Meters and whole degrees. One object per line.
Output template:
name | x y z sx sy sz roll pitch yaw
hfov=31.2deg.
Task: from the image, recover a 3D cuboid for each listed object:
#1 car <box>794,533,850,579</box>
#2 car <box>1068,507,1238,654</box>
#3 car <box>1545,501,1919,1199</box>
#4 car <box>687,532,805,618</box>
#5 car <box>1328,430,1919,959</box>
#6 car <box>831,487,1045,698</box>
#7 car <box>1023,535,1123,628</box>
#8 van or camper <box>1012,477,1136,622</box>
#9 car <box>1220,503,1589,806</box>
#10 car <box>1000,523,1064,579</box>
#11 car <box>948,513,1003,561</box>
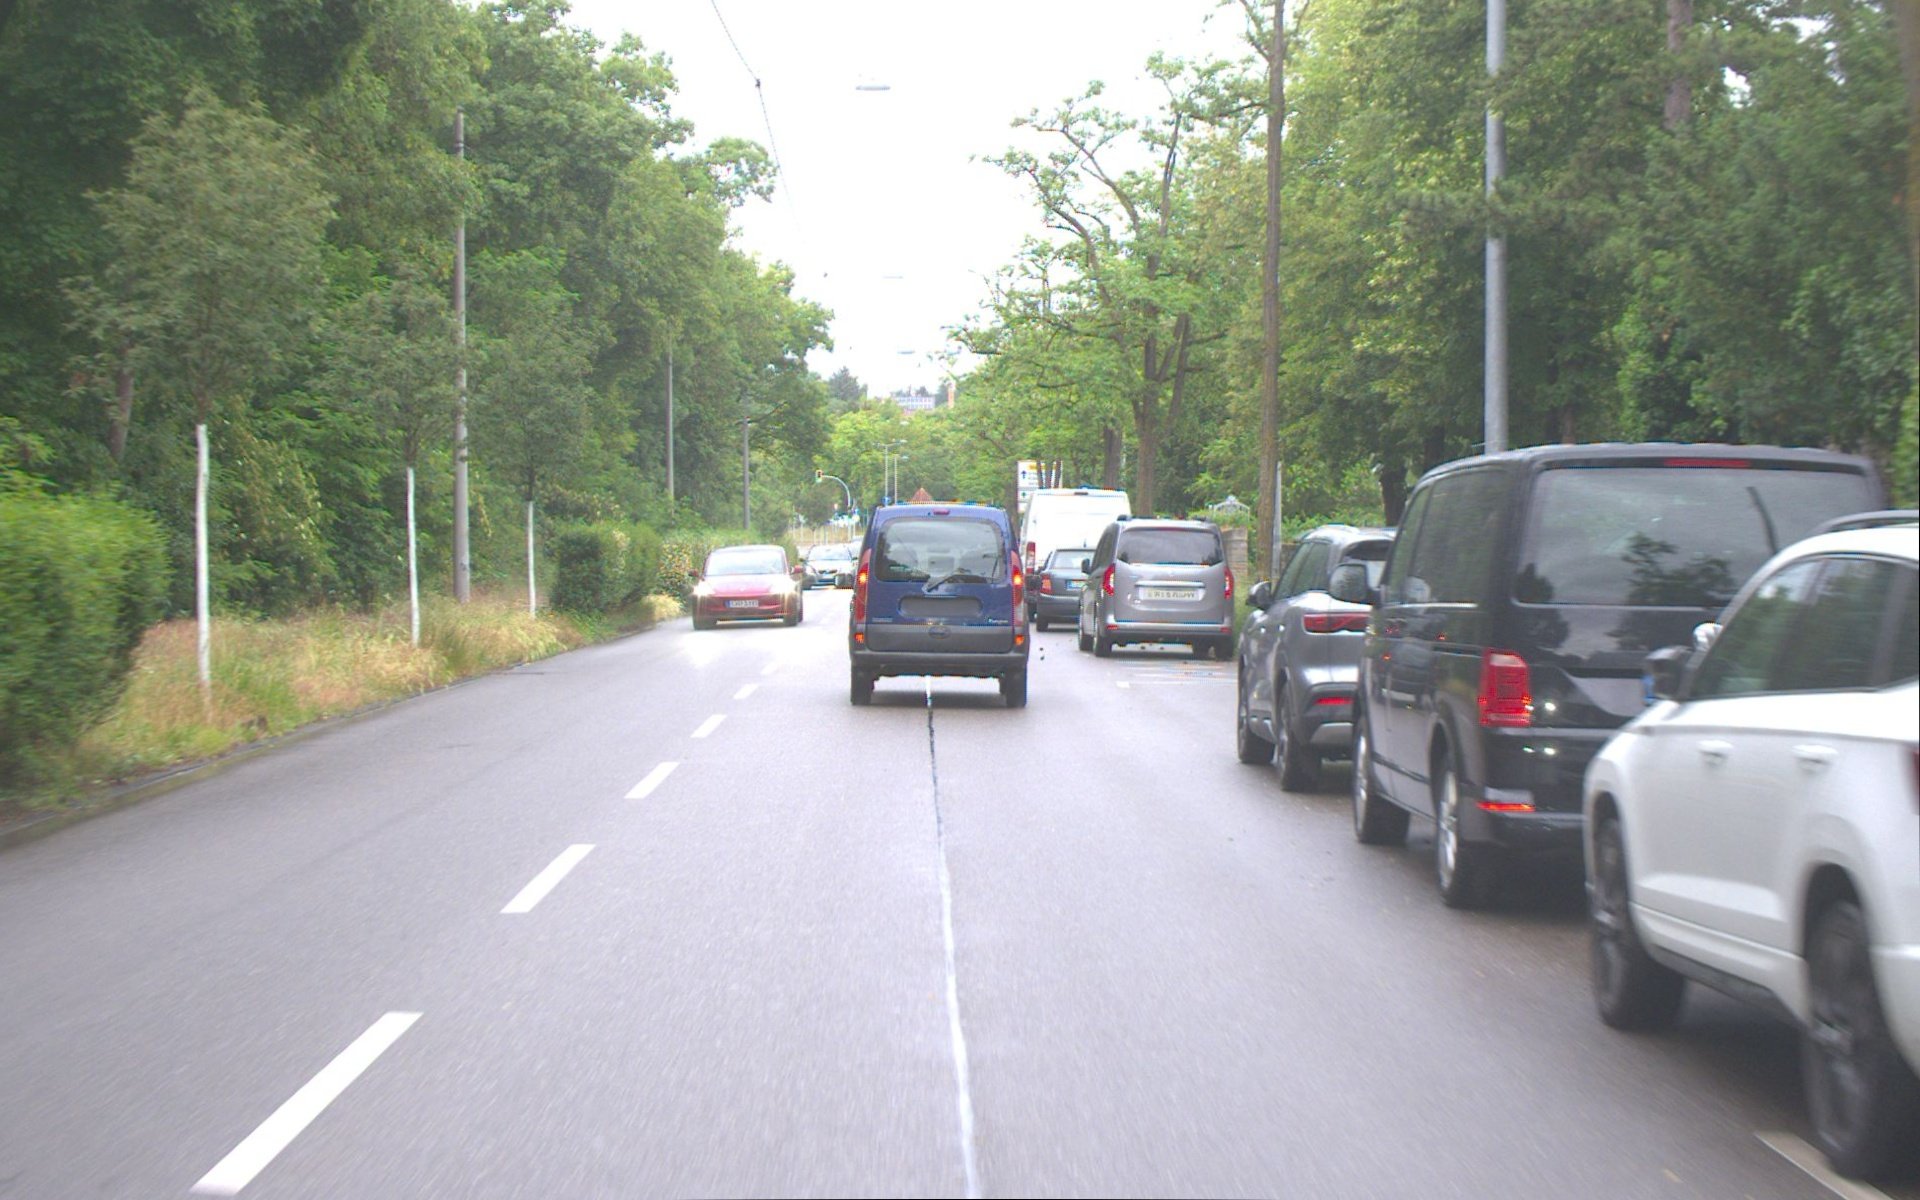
car | -4.578 -1.447 114.427 1.783 1.474 3.968 -1 0 -1
car | 2.537 -0.308 46.120 1.814 1.807 4.283 1 2 -2
car | 2.936 0.560 9.444 1.804 1.607 4.287 1 2 -1
car | -3.812 -0.476 61.764 1.860 1.475 4.157 -1 1 0
car | 2.985 0.294 15.768 1.993 2.006 4.888 1 2 0
car | -0.262 -0.122 32.119 1.766 1.824 3.543 1 2 -4
car | 1.955 -0.347 58.848 1.626 1.459 3.807 1 2 2
van or camper | 2.162 -1.020 66.523 2.078 2.641 5.346 1 2 -1
car | 2.768 0.261 22.323 1.773 1.717 4.327 1 2 0
car | 2.063 -1.433 99.522 1.721 1.500 4.050 1 2 0
car | 0.491 -2.083 113.121 1.618 1.503 3.835 1 2 -2
